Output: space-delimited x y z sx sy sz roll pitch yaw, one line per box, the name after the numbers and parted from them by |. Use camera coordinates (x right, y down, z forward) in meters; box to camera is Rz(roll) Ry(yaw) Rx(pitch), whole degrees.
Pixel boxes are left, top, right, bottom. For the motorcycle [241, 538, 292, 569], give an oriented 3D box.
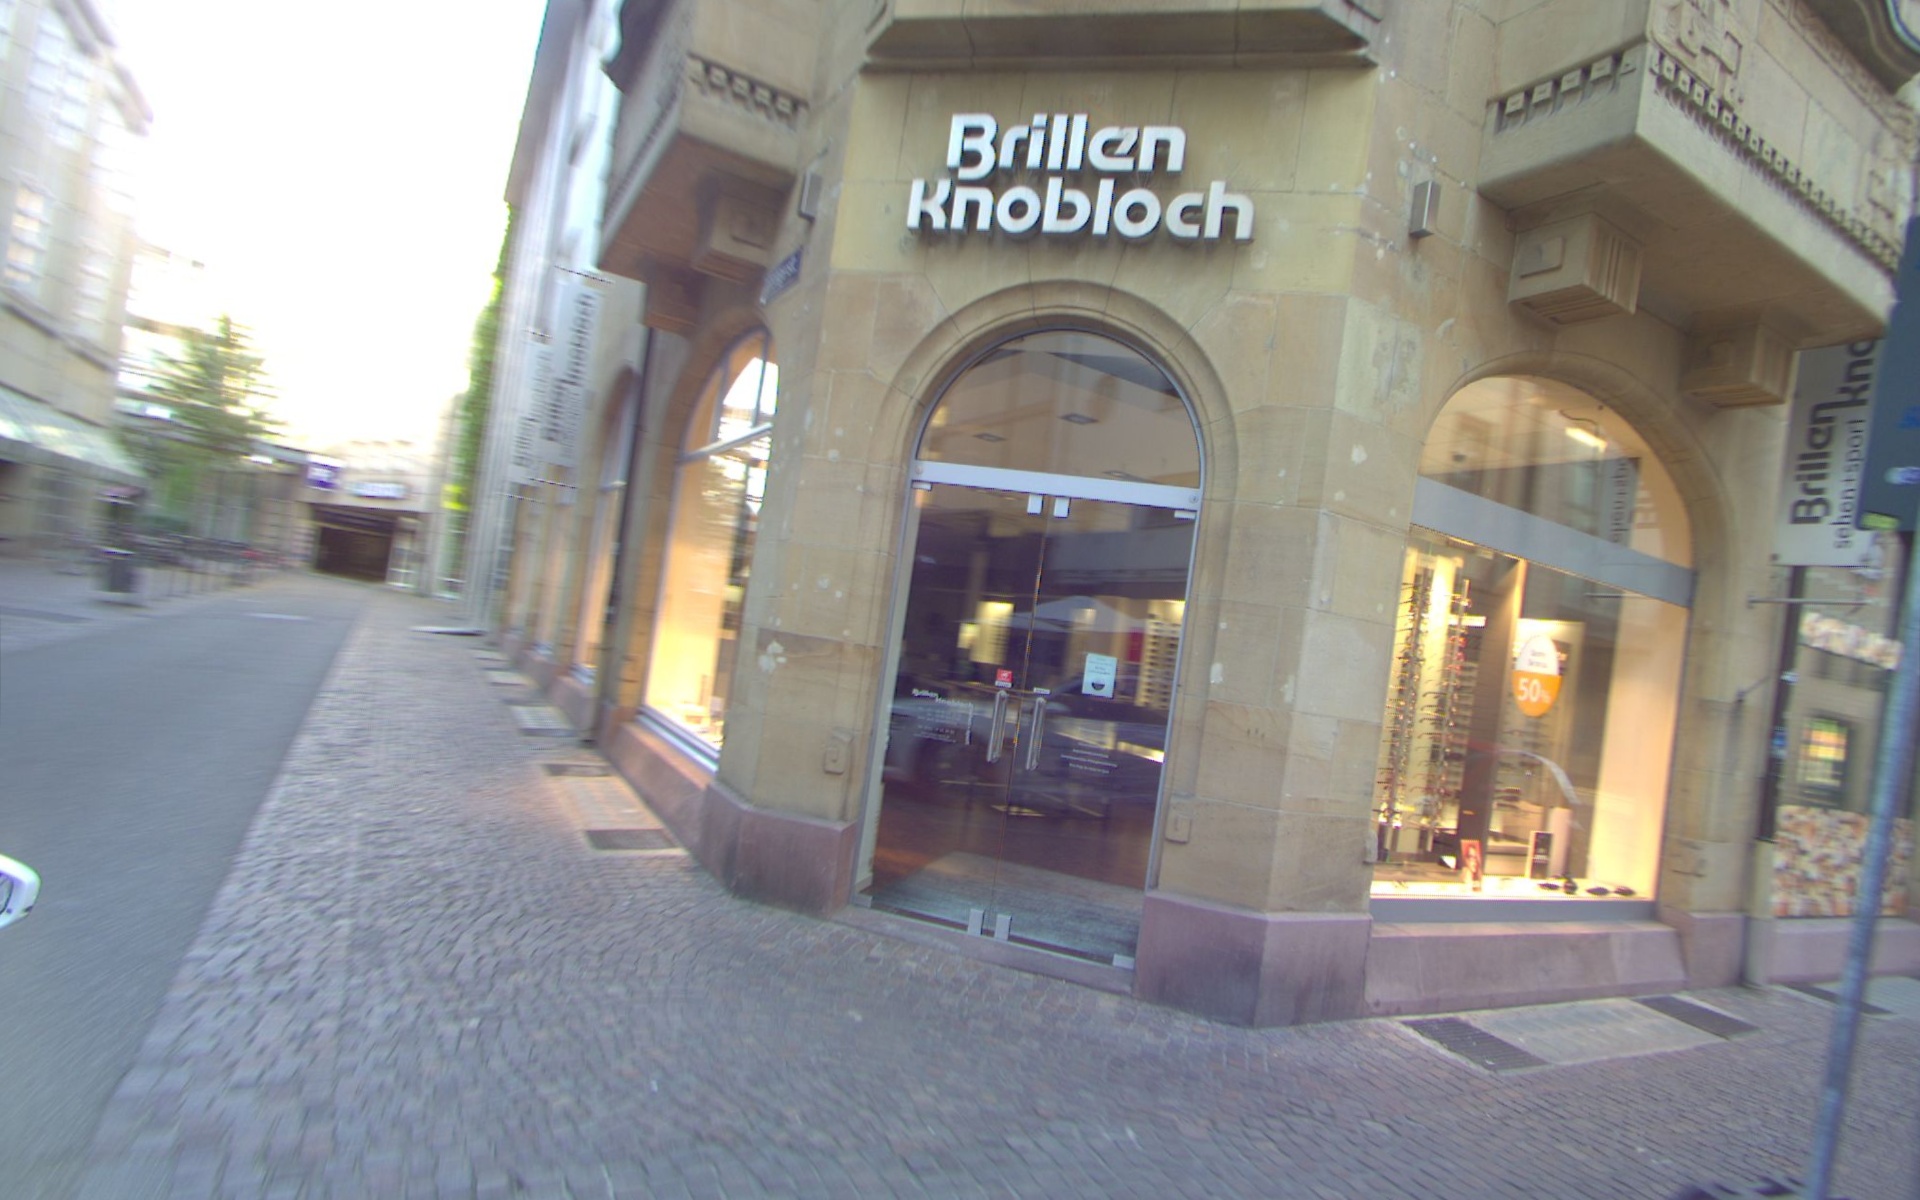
-31.616 -2.094 45.894 0.586 1.169 1.742 7 0 43 | motorcycle

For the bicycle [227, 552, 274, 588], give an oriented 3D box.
-21.571 -0.906 30.617 0.499 0.978 1.690 8 -1 -14 | bicycle

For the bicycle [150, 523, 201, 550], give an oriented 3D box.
-42.222 -3.405 54.126 0.684 1.197 1.991 7 0 41 | bicycle

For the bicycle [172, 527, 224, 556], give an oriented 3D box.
-39.298 -3.016 51.895 0.684 1.197 1.991 7 0 41 | bicycle

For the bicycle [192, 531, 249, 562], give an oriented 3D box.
-35.793 -2.583 48.707 0.791 1.197 1.991 7 0 41 | bicycle

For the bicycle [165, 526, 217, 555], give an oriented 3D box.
-40.196 -3.098 52.605 0.684 1.197 1.991 7 0 41 | bicycle

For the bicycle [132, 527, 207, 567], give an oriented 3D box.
-28.567 -1.920 36.378 0.686 1.114 1.912 7 -2 40 | bicycle

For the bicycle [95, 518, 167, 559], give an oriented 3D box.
-30.839 -2.276 37.443 0.687 1.196 1.911 7 -2 43 | bicycle

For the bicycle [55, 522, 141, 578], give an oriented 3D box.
-20.054 -1.134 23.444 0.685 1.125 1.772 8 -1 -14 | bicycle

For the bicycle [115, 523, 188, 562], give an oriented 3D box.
-29.757 -2.107 37.043 0.687 1.114 1.911 7 -2 43 | bicycle

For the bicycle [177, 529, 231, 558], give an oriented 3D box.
-38.350 -2.855 51.033 0.684 1.197 1.991 7 0 41 | bicycle

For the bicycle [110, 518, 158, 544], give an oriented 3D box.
-47.830 -4.012 58.290 0.684 1.197 1.991 7 0 41 | bicycle

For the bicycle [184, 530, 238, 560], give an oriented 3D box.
-37.565 -2.745 50.479 0.684 1.197 1.991 7 0 41 | bicycle

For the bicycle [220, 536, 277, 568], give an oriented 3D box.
-33.195 -2.230 46.928 0.686 1.197 1.991 7 0 41 | bicycle

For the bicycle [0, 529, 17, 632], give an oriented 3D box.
-10.393 -0.190 10.433 0.408 1.145 1.915 9 -2 -32 | bicycle

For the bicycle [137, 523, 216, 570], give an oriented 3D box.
-26.911 -1.833 34.595 0.797 1.275 1.912 7 -2 40 | bicycle

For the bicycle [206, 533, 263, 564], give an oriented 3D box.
-34.147 -2.420 47.353 0.686 1.197 1.991 7 0 41 | bicycle

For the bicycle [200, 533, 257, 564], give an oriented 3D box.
-34.865 -2.455 47.949 0.791 1.197 1.991 7 0 41 | bicycle

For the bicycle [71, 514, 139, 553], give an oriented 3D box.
-34.374 -2.669 40.469 0.687 1.196 1.911 7 -2 43 | bicycle

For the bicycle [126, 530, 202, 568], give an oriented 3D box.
-28.137 -1.805 35.579 0.686 1.005 1.912 7 -2 40 | bicycle

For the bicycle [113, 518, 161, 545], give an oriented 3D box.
-47.208 -3.928 57.723 0.684 1.197 1.991 7 0 41 | bicycle
